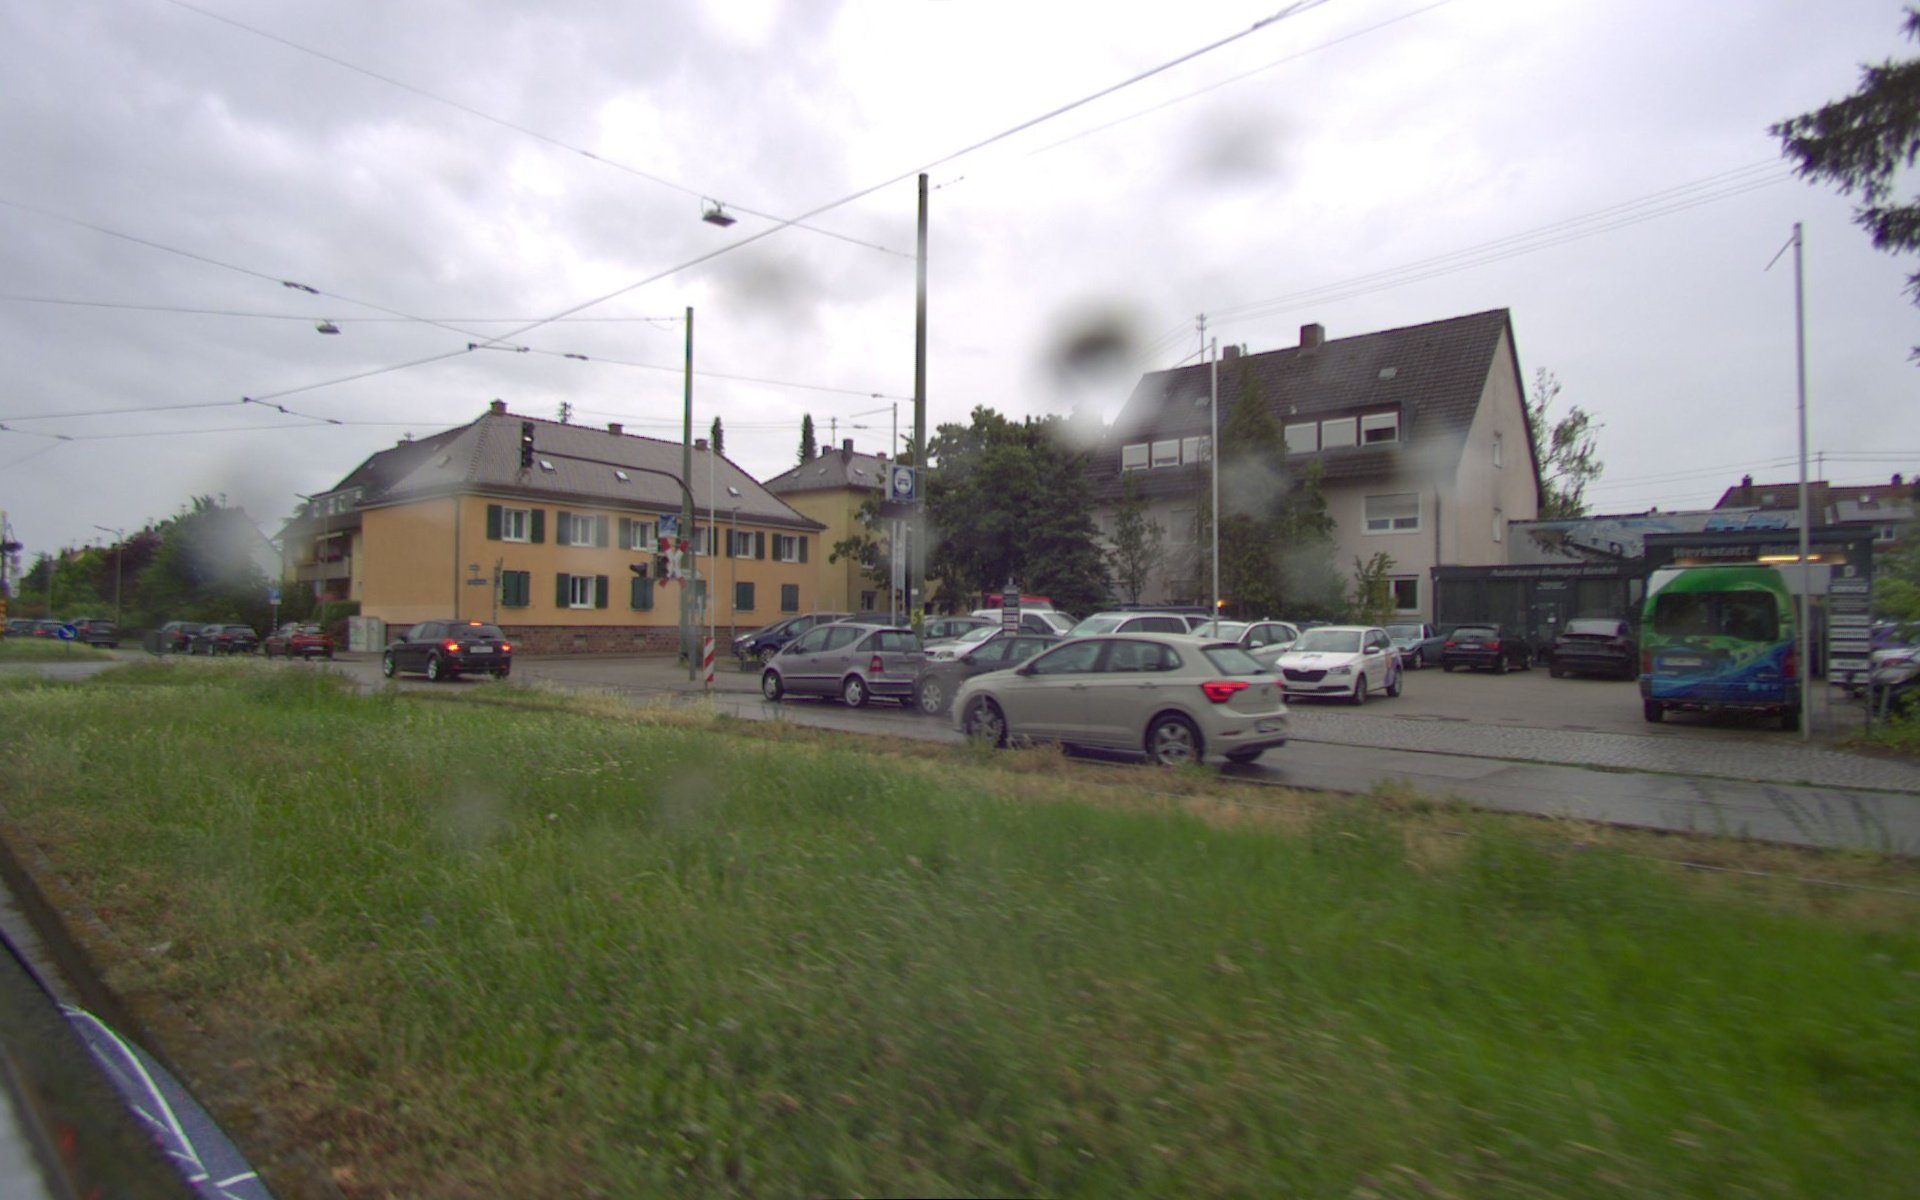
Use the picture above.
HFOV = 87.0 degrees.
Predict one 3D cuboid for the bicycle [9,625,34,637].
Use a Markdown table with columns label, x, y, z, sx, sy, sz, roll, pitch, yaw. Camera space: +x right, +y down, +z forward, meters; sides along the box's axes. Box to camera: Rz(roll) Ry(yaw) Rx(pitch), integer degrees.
| label | x | y | z | sx | sy | sz | roll | pitch | yaw |
| --- | --- | --- | --- | --- | --- | --- | --- | --- | --- |
| bicycle | -59.615 | 1.968 | 64.272 | 1.818 | 0.792 | 0.930 | -2 | -3 | 40 |

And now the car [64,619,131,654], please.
| label | x | y | z | sx | sy | sz | roll | pitch | yaw |
| --- | --- | --- | --- | --- | --- | --- | --- | --- | --- |
| car | -50.183 | 2.080 | 58.857 | 3.990 | 1.807 | 1.977 | 2 | 0 | 35 |

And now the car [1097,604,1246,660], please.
| label | x | y | z | sx | sy | sz | roll | pitch | yaw |
| --- | --- | --- | --- | --- | --- | --- | --- | --- | --- |
| car | 6.891 | 1.059 | 33.271 | 4.448 | 1.700 | 1.971 | -2 | -3 | 44 |

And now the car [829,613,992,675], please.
| label | x | y | z | sx | sy | sz | roll | pitch | yaw |
| --- | --- | --- | --- | --- | --- | --- | --- | --- | --- |
| car | -1.359 | 1.192 | 27.518 | 3.988 | 1.515 | 1.839 | 2 | 0 | -20 |

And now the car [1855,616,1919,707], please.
| label | x | y | z | sx | sy | sz | roll | pitch | yaw |
| --- | --- | --- | --- | --- | --- | --- | --- | --- | --- |
| car | 18.276 | 1.007 | 17.618 | 3.892 | 1.577 | 1.973 | -5 | -5 | 41 |

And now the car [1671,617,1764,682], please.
| label | x | y | z | sx | sy | sz | roll | pitch | yaw |
| --- | --- | --- | --- | --- | --- | --- | --- | --- | --- |
| car | 19.636 | 1.235 | 26.186 | 1.785 | 1.509 | 3.948 | 2 | 0 | 38 |

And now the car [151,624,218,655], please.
| label | x | y | z | sx | sy | sz | roll | pitch | yaw |
| --- | --- | --- | --- | --- | --- | --- | --- | --- | --- |
| car | -38.909 | 1.966 | 50.721 | 3.995 | 1.342 | 1.737 | 2 | 0 | 39 |

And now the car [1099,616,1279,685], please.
| label | x | y | z | sx | sy | sz | roll | pitch | yaw |
| --- | --- | --- | --- | --- | --- | --- | --- | --- | --- |
| car | 6.058 | 1.334 | 27.113 | 4.448 | 1.700 | 1.735 | -2 | -3 | 44 |

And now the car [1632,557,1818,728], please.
| label | x | y | z | sx | sy | sz | roll | pitch | yaw |
| --- | --- | --- | --- | --- | --- | --- | --- | --- | --- |
| car | 12.958 | 0.643 | 16.992 | 2.151 | 2.424 | 5.079 | 1 | -1 | 41 |

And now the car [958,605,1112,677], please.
| label | x | y | z | sx | sy | sz | roll | pitch | yaw |
| --- | --- | --- | --- | --- | --- | --- | --- | --- | --- |
| car | 2.236 | 1.251 | 30.848 | 4.448 | 2.029 | 1.971 | -2 | -3 | 44 |

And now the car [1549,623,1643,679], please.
| label | x | y | z | sx | sy | sz | roll | pitch | yaw |
| --- | --- | --- | --- | --- | --- | --- | --- | --- | --- |
| car | 17.371 | 1.354 | 27.549 | 1.758 | 1.342 | 3.949 | 2 | 0 | 38 |

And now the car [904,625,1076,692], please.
| label | x | y | z | sx | sy | sz | roll | pitch | yaw |
| --- | --- | --- | --- | --- | --- | --- | --- | --- | --- |
| car | 0.789 | 1.464 | 25.707 | 3.989 | 1.515 | 1.839 | 2 | 0 | -32 |

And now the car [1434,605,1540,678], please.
| label | x | y | z | sx | sy | sz | roll | pitch | yaw |
| --- | --- | --- | --- | --- | --- | --- | --- | --- | --- |
| car | 15.551 | 1.149 | 29.792 | 1.999 | 1.793 | 3.558 | 1 | 3 | 41 |

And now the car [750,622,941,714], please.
| label | x | y | z | sx | sy | sz | roll | pitch | yaw |
| --- | --- | --- | --- | --- | --- | --- | --- | --- | --- |
| car | -2.302 | 1.255 | 19.887 | 3.643 | 1.515 | 1.699 | 2 | 0 | 41 |

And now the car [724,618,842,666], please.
| label | x | y | z | sx | sy | sz | roll | pitch | yaw |
| --- | --- | --- | --- | --- | --- | --- | --- | --- | --- |
| car | -6.094 | 1.438 | 34.712 | 3.806 | 1.591 | 1.813 | 0 | -2 | -16 |

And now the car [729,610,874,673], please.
| label | x | y | z | sx | sy | sz | roll | pitch | yaw |
| --- | --- | --- | --- | --- | --- | --- | --- | --- | --- |
| car | -4.642 | 1.209 | 29.512 | 3.932 | 1.730 | 2.006 | 1 | -2 | -16 |

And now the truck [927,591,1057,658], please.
| label | x | y | z | sx | sy | sz | roll | pitch | yaw |
| --- | --- | --- | --- | --- | --- | --- | --- | --- | --- |
| truck | 1.052 | 0.954 | 37.561 | 1.965 | 2.289 | 6.121 | 2 | -3 | -29 |

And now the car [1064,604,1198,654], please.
| label | x | y | z | sx | sy | sz | roll | pitch | yaw |
| --- | --- | --- | --- | --- | --- | --- | --- | --- | --- |
| car | 6.127 | 1.073 | 36.622 | 4.448 | 1.700 | 1.971 | -2 | -3 | 44 |

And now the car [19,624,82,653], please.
| label | x | y | z | sx | sy | sz | roll | pitch | yaw |
| --- | --- | --- | --- | --- | --- | --- | --- | --- | --- |
| car | -48.835 | 2.035 | 54.332 | 3.997 | 1.487 | 1.973 | -1 | -2 | 40 |

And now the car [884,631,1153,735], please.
| label | x | y | z | sx | sy | sz | roll | pitch | yaw |
| --- | --- | --- | --- | --- | --- | --- | --- | --- | --- |
| car | 0.878 | 1.297 | 17.052 | 4.387 | 1.349 | 1.699 | 2 | 0 | 41 |

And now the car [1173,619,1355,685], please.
| label | x | y | z | sx | sy | sz | roll | pitch | yaw |
| --- | --- | --- | --- | --- | --- | --- | --- | --- | --- |
| car | 8.380 | 1.414 | 28.144 | 4.448 | 1.700 | 1.971 | -2 | -3 | 44 |

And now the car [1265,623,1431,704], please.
| label | x | y | z | sx | sy | sz | roll | pitch | yaw |
| --- | --- | --- | --- | --- | --- | --- | --- | --- | --- |
| car | 7.834 | 1.219 | 20.281 | 1.724 | 1.406 | 3.786 | 1 | -1 | 44 |

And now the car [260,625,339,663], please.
| label | x | y | z | sx | sy | sz | roll | pitch | yaw |
| --- | --- | --- | --- | --- | --- | --- | --- | --- | --- |
| car | -27.161 | 1.772 | 41.592 | 3.613 | 1.349 | 1.700 | 2 | 0 | 39 |

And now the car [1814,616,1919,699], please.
| label | x | y | z | sx | sy | sz | roll | pitch | yaw |
| --- | --- | --- | --- | --- | --- | --- | --- | --- | --- |
| car | 19.936 | 1.144 | 19.891 | 4.366 | 1.592 | 1.853 | 0 | -3 | 20 |

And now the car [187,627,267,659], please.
| label | x | y | z | sx | sy | sz | roll | pitch | yaw |
| --- | --- | --- | --- | --- | --- | --- | --- | --- | --- |
| car | -34.159 | 1.984 | 47.148 | 4.501 | 1.407 | 1.941 | -1 | -2 | 40 |

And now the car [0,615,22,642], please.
| label | x | y | z | sx | sy | sz | roll | pitch | yaw |
| --- | --- | --- | --- | --- | --- | --- | --- | --- | --- |
| car | -68.858 | 2.022 | 72.487 | 3.997 | 1.807 | 1.973 | 2 | 0 | 40 |

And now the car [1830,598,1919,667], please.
| label | x | y | z | sx | sy | sz | roll | pitch | yaw |
| --- | --- | --- | --- | --- | --- | --- | --- | --- | --- |
| car | 23.456 | 0.780 | 23.598 | 4.413 | 1.592 | 1.782 | 0 | -3 | 20 |

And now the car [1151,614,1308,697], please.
| label | x | y | z | sx | sy | sz | roll | pitch | yaw |
| --- | --- | --- | --- | --- | --- | --- | --- | --- | --- |
| car | 5.889 | 1.160 | 21.893 | 1.724 | 1.585 | 3.564 | 1 | -1 | 45 |

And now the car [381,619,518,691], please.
| label | x | y | z | sx | sy | sz | roll | pitch | yaw |
| --- | --- | --- | --- | --- | --- | --- | --- | --- | --- |
| car | -12.639 | 1.287 | 24.948 | 4.000 | 1.497 | 1.717 | 2 | 0 | 43 |

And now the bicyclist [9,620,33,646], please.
| label | x | y | z | sx | sy | sz | roll | pitch | yaw |
| --- | --- | --- | --- | --- | --- | --- | --- | --- | --- |
| bicyclist | -59.631 | 2.112 | 64.271 | 1.041 | 1.610 | 0.937 | -2 | -3 | 40 |

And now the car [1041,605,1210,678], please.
| label | x | y | z | sx | sy | sz | roll | pitch | yaw |
| --- | --- | --- | --- | --- | --- | --- | --- | --- | --- |
| car | 3.949 | 0.968 | 23.965 | 3.809 | 1.591 | 1.811 | 1 | -3 | -37 |

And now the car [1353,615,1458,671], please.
| label | x | y | z | sx | sy | sz | roll | pitch | yaw |
| --- | --- | --- | --- | --- | --- | --- | --- | --- | --- |
| car | 13.800 | 1.281 | 31.261 | 1.998 | 1.577 | 3.843 | 1 | -1 | 39 |

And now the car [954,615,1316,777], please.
| label | x | y | z | sx | sy | sz | roll | pitch | yaw |
| --- | --- | --- | --- | --- | --- | --- | --- | --- | --- |
| car | 1.881 | 0.965 | 11.606 | 3.820 | 1.434 | 1.583 | 2 | 0 | 42 |
